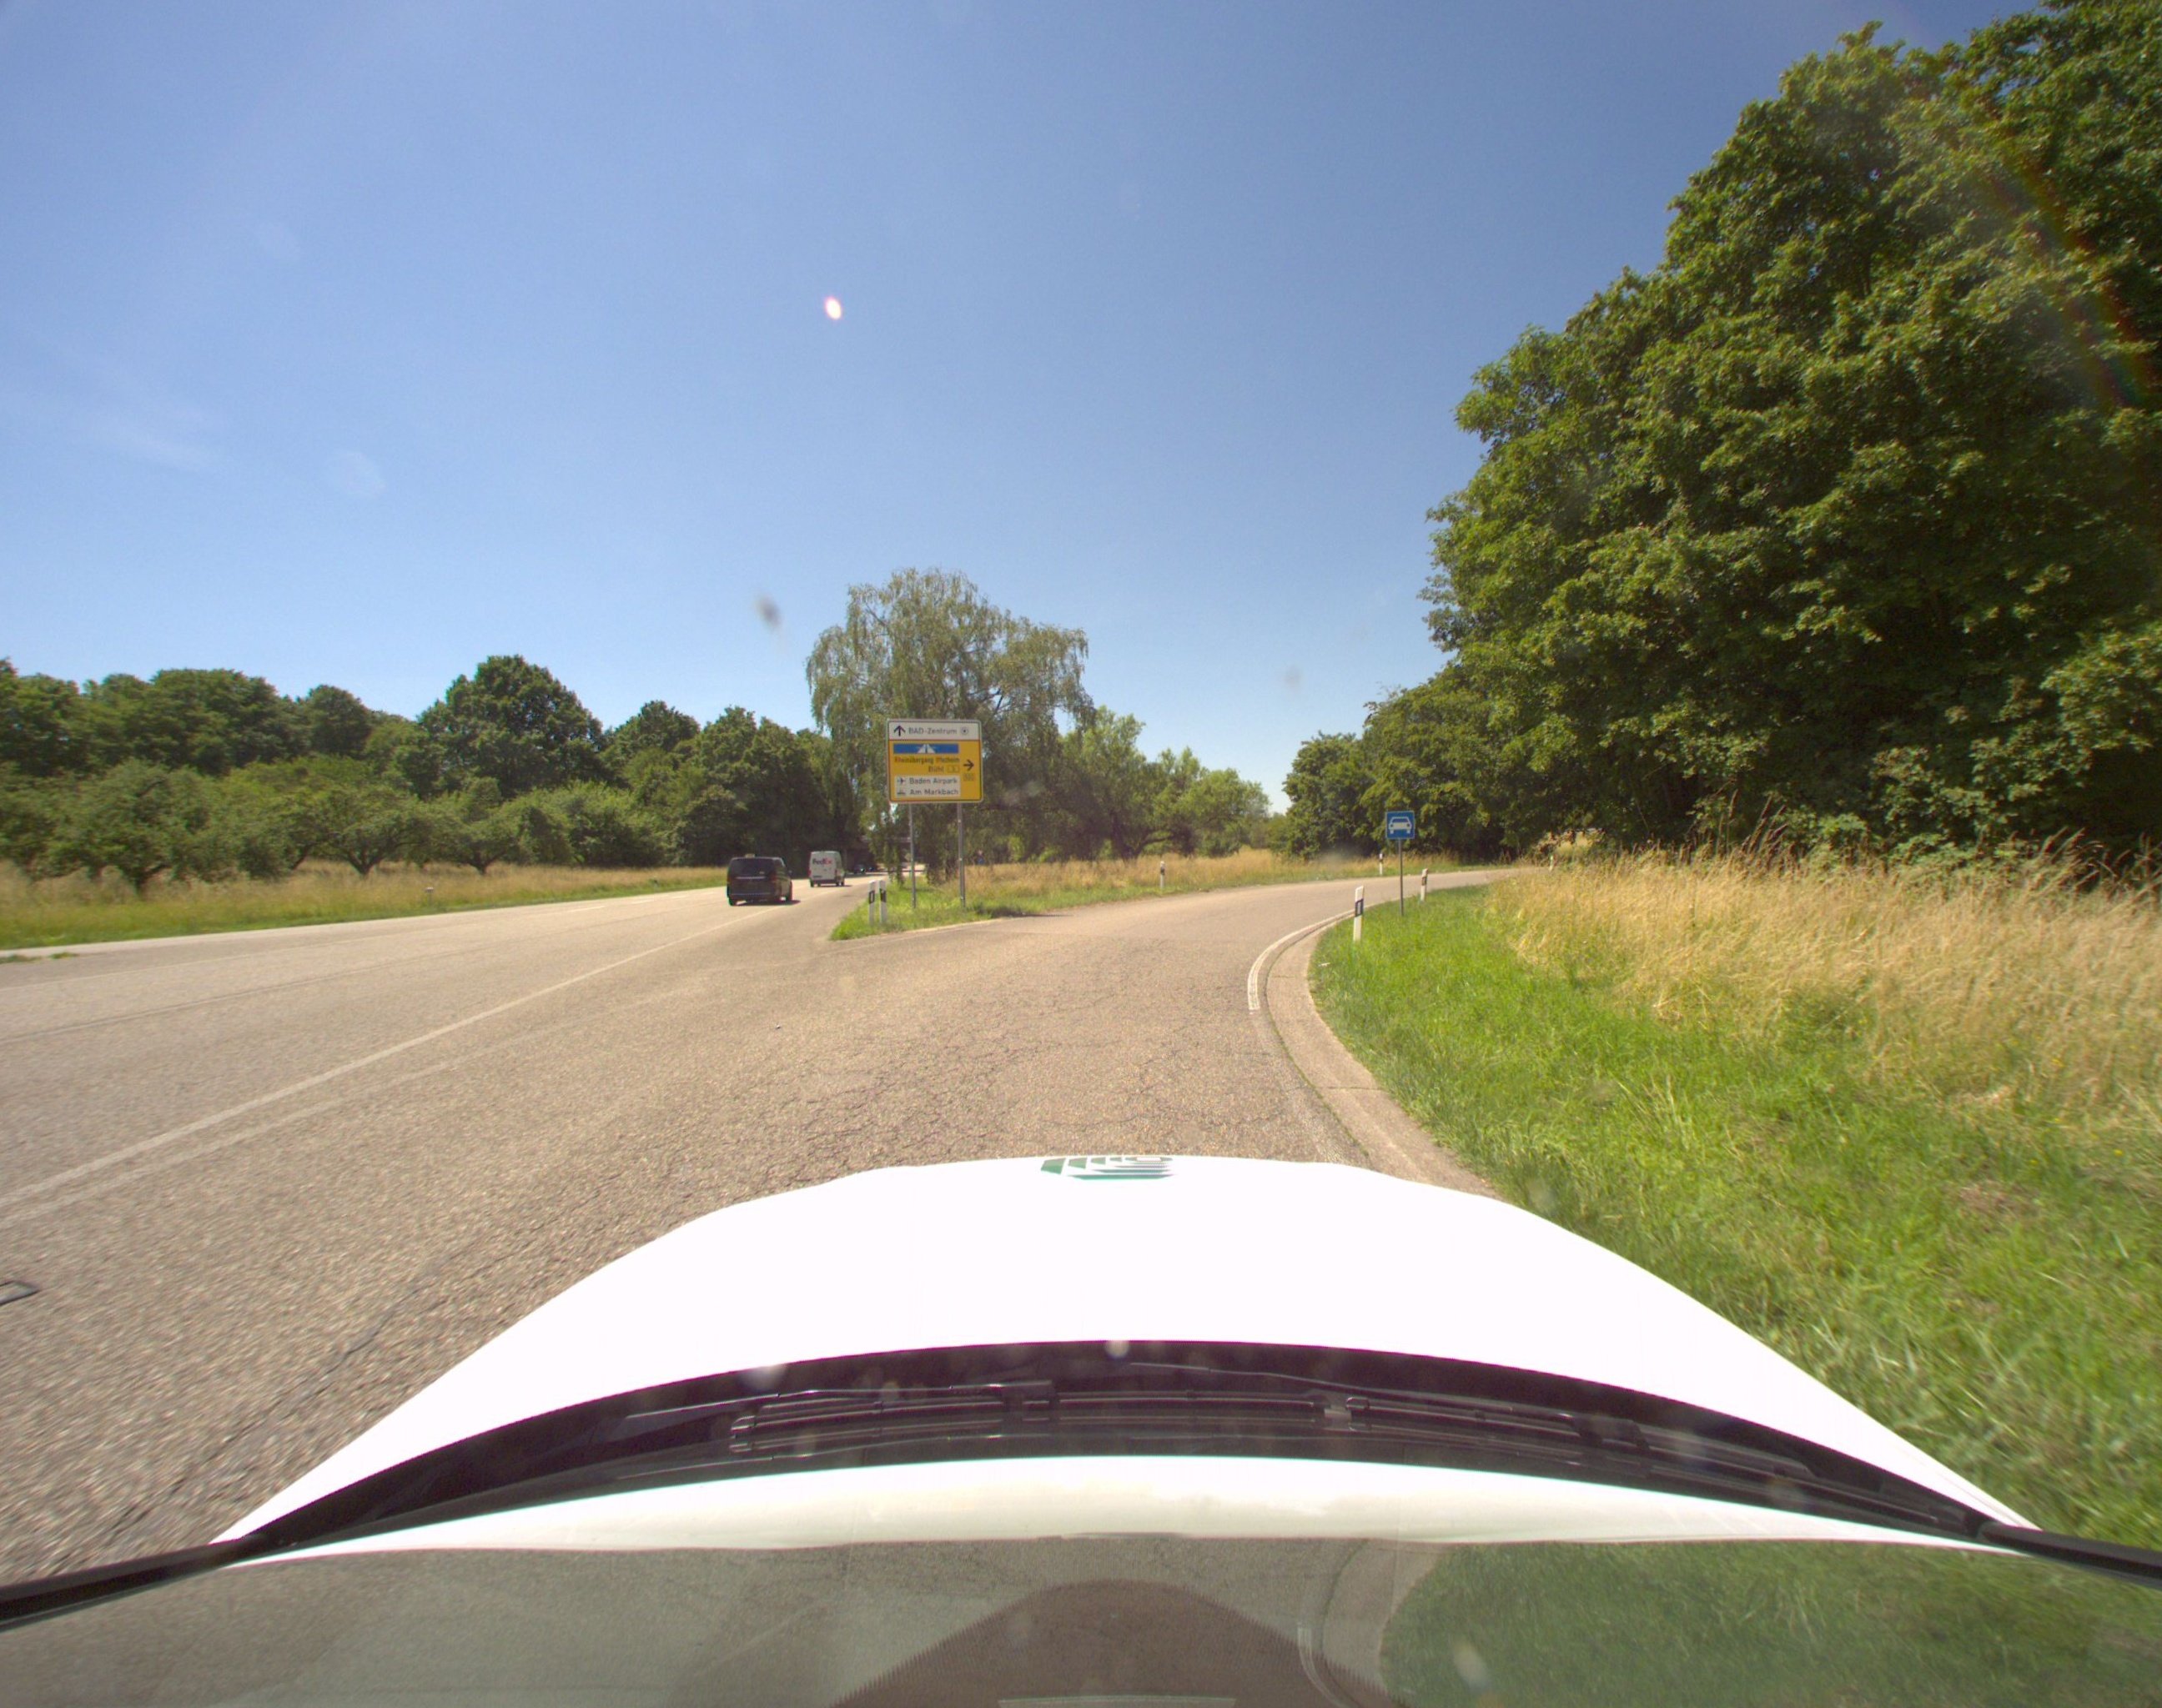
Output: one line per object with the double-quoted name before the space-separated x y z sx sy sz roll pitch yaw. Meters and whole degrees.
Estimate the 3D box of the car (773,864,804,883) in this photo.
"car" -26.833 1.745 74.882 2.118 1.635 4.073 0 0 -12

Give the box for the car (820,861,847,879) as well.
"car" -23.157 1.479 76.309 2.118 1.635 4.073 0 0 -12

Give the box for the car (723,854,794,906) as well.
"car" -12.842 0.990 32.676 1.995 1.948 4.073 0 0 -12

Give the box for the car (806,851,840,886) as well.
"car" -18.965 1.032 60.000 2.120 2.501 4.070 0 0 -14
